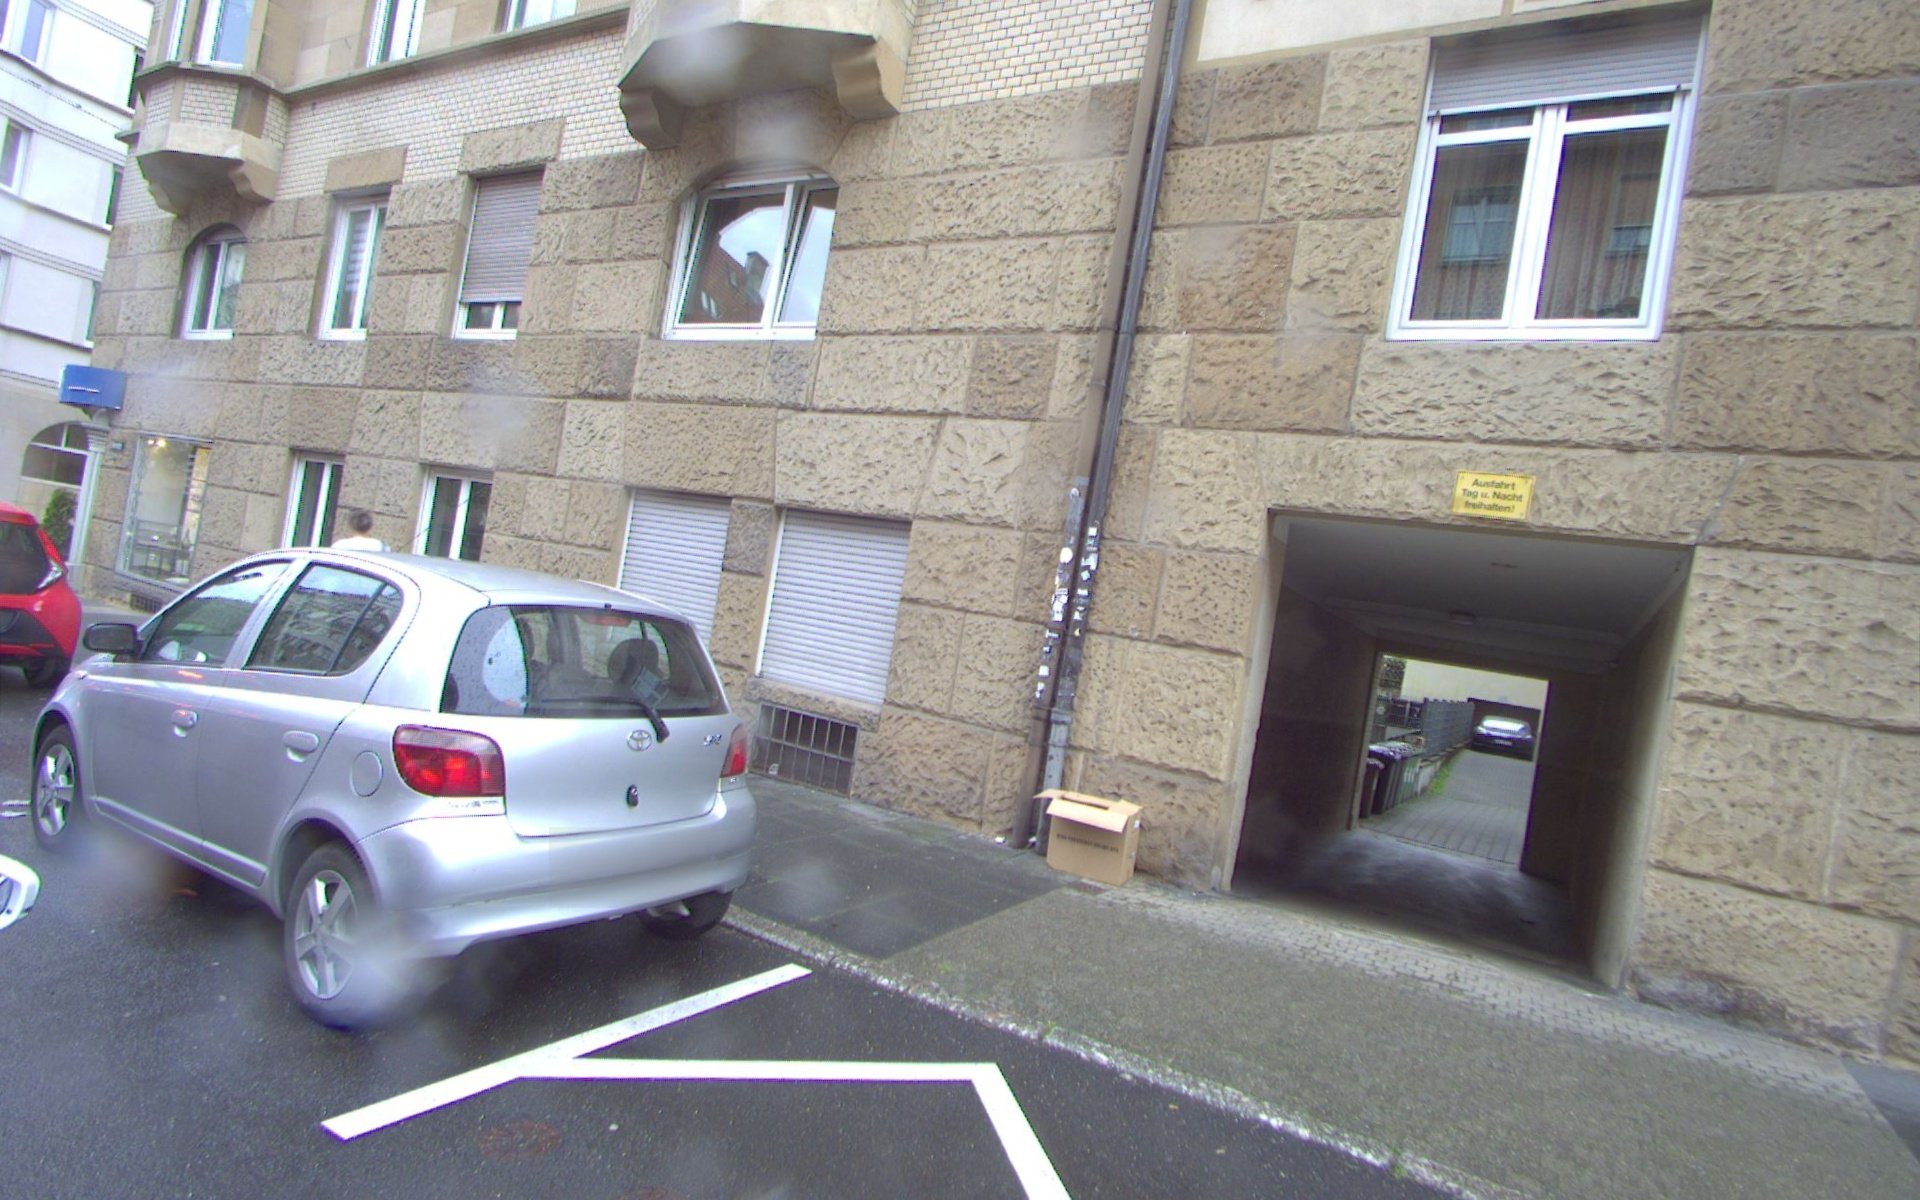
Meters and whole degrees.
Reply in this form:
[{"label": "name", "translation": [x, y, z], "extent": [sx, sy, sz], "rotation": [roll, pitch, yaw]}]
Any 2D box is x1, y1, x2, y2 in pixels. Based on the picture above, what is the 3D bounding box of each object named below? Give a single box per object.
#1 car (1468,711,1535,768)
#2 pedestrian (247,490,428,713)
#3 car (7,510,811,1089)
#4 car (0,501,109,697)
[{"label": "car", "translation": [18.326, 4.696, 33.948], "extent": [1.693, 1.538, 4.102], "rotation": [7, -3, 31]}, {"label": "pedestrian", "translation": [-5.385, 0.013, 8.707], "extent": [1.093, 1.768, 0.743], "rotation": [6, -1, 32]}, {"label": "car", "translation": [-2.494, 0.552, 4.402], "extent": [3.258, 1.485, 1.616], "rotation": [7, 0, 33]}, {"label": "car", "translation": [-8.743, -0.195, 8.179], "extent": [3.243, 1.464, 1.646], "rotation": [7, -2, 29]}]
